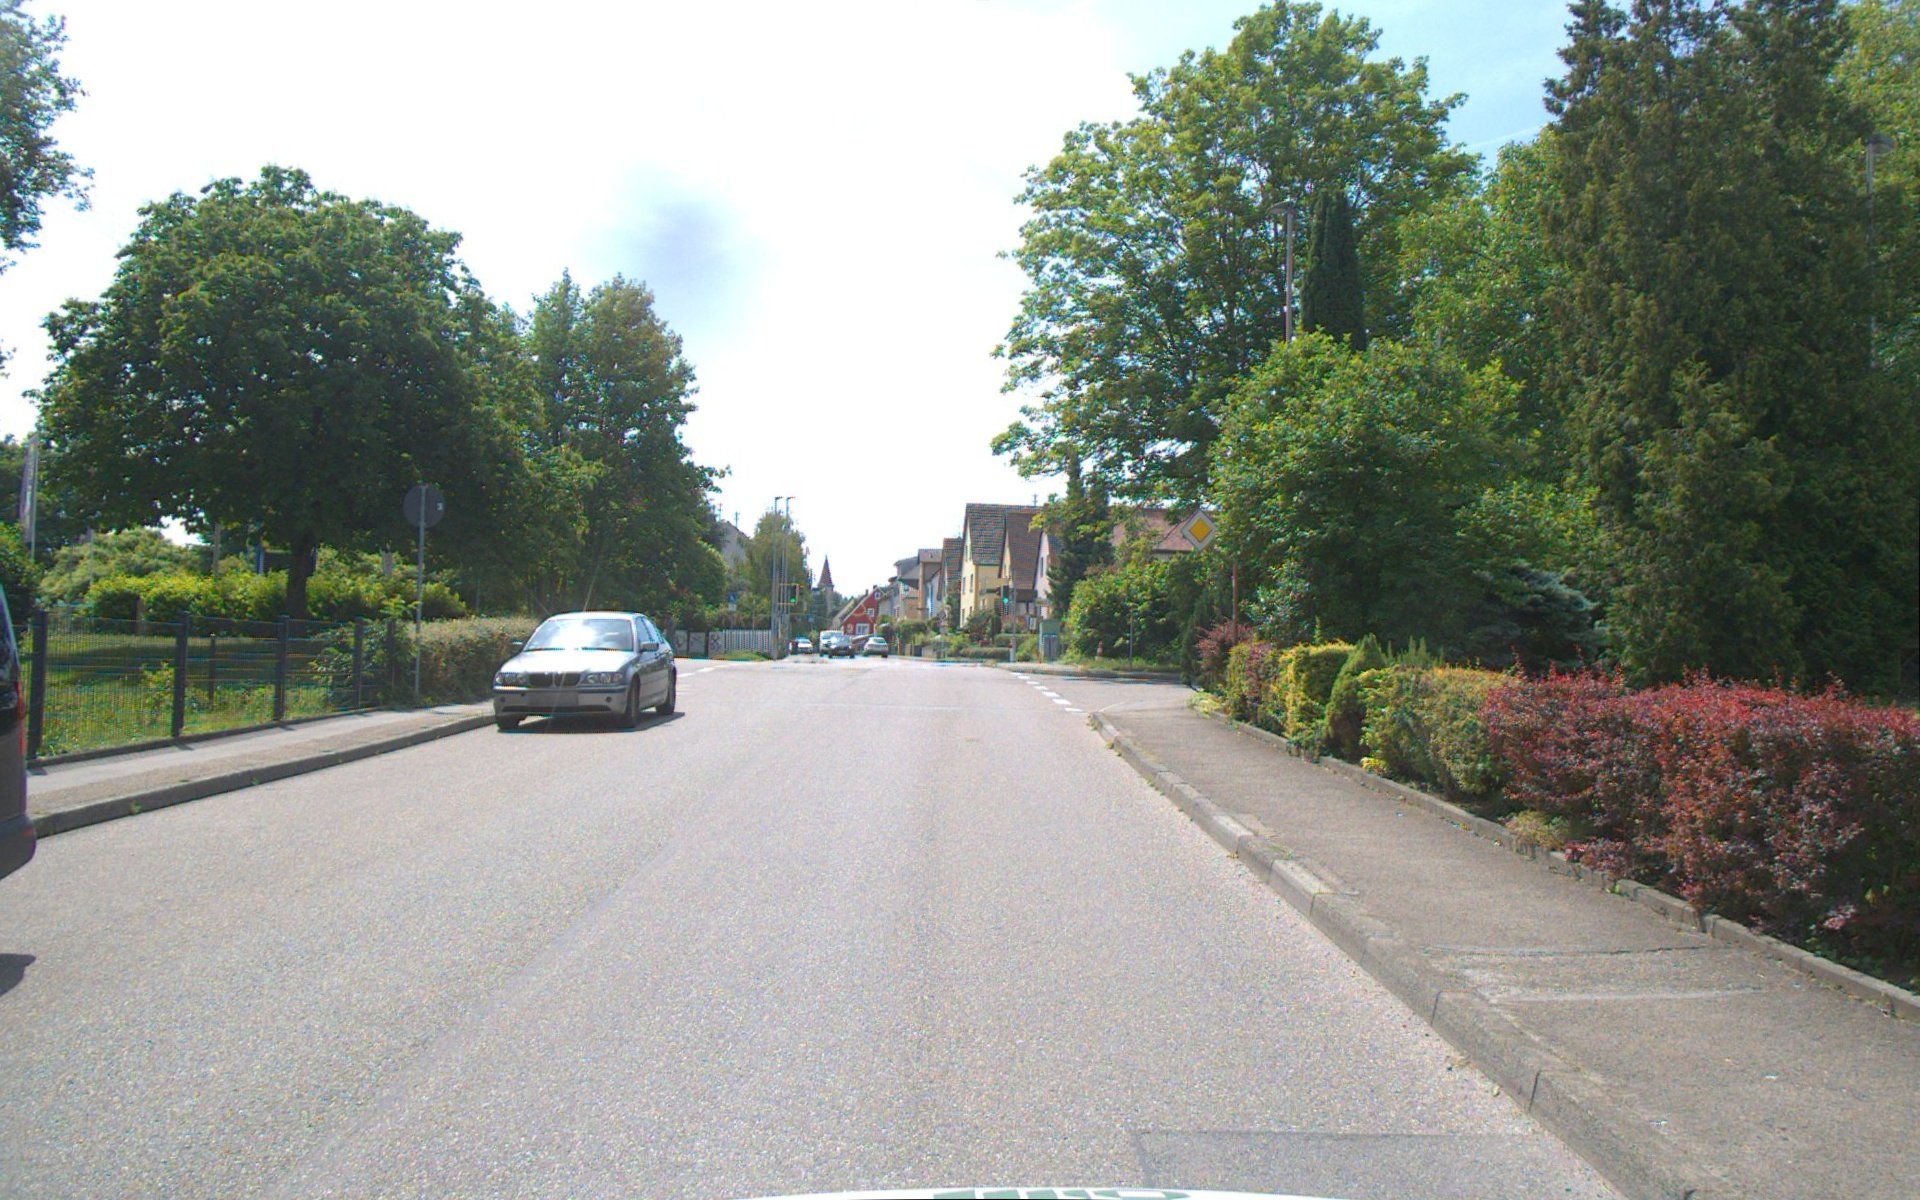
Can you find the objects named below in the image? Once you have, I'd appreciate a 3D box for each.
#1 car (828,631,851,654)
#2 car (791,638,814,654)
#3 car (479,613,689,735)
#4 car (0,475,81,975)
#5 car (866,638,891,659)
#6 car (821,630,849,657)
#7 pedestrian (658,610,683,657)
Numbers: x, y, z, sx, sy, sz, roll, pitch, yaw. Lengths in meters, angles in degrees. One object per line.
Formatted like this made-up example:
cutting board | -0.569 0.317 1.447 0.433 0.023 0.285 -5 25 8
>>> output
car | -8.423 2.966 115.634 1.504 1.568 4.300 1 -1 -5
car | -16.064 4.674 169.151 2.068 1.588 4.311 1 -2 -3
car | -4.755 0.892 21.538 1.744 1.419 4.408 0 -1 0
car | -4.592 0.509 4.603 1.858 1.954 4.867 -1 0 -3
car | -6.597 3.950 134.958 1.953 1.631 3.999 0 0 -2
car | -9.656 3.380 127.430 1.844 1.999 4.894 -1 -2 -7
pedestrian | -11.171 1.299 63.776 0.720 1.809 0.690 -2 -3 17
